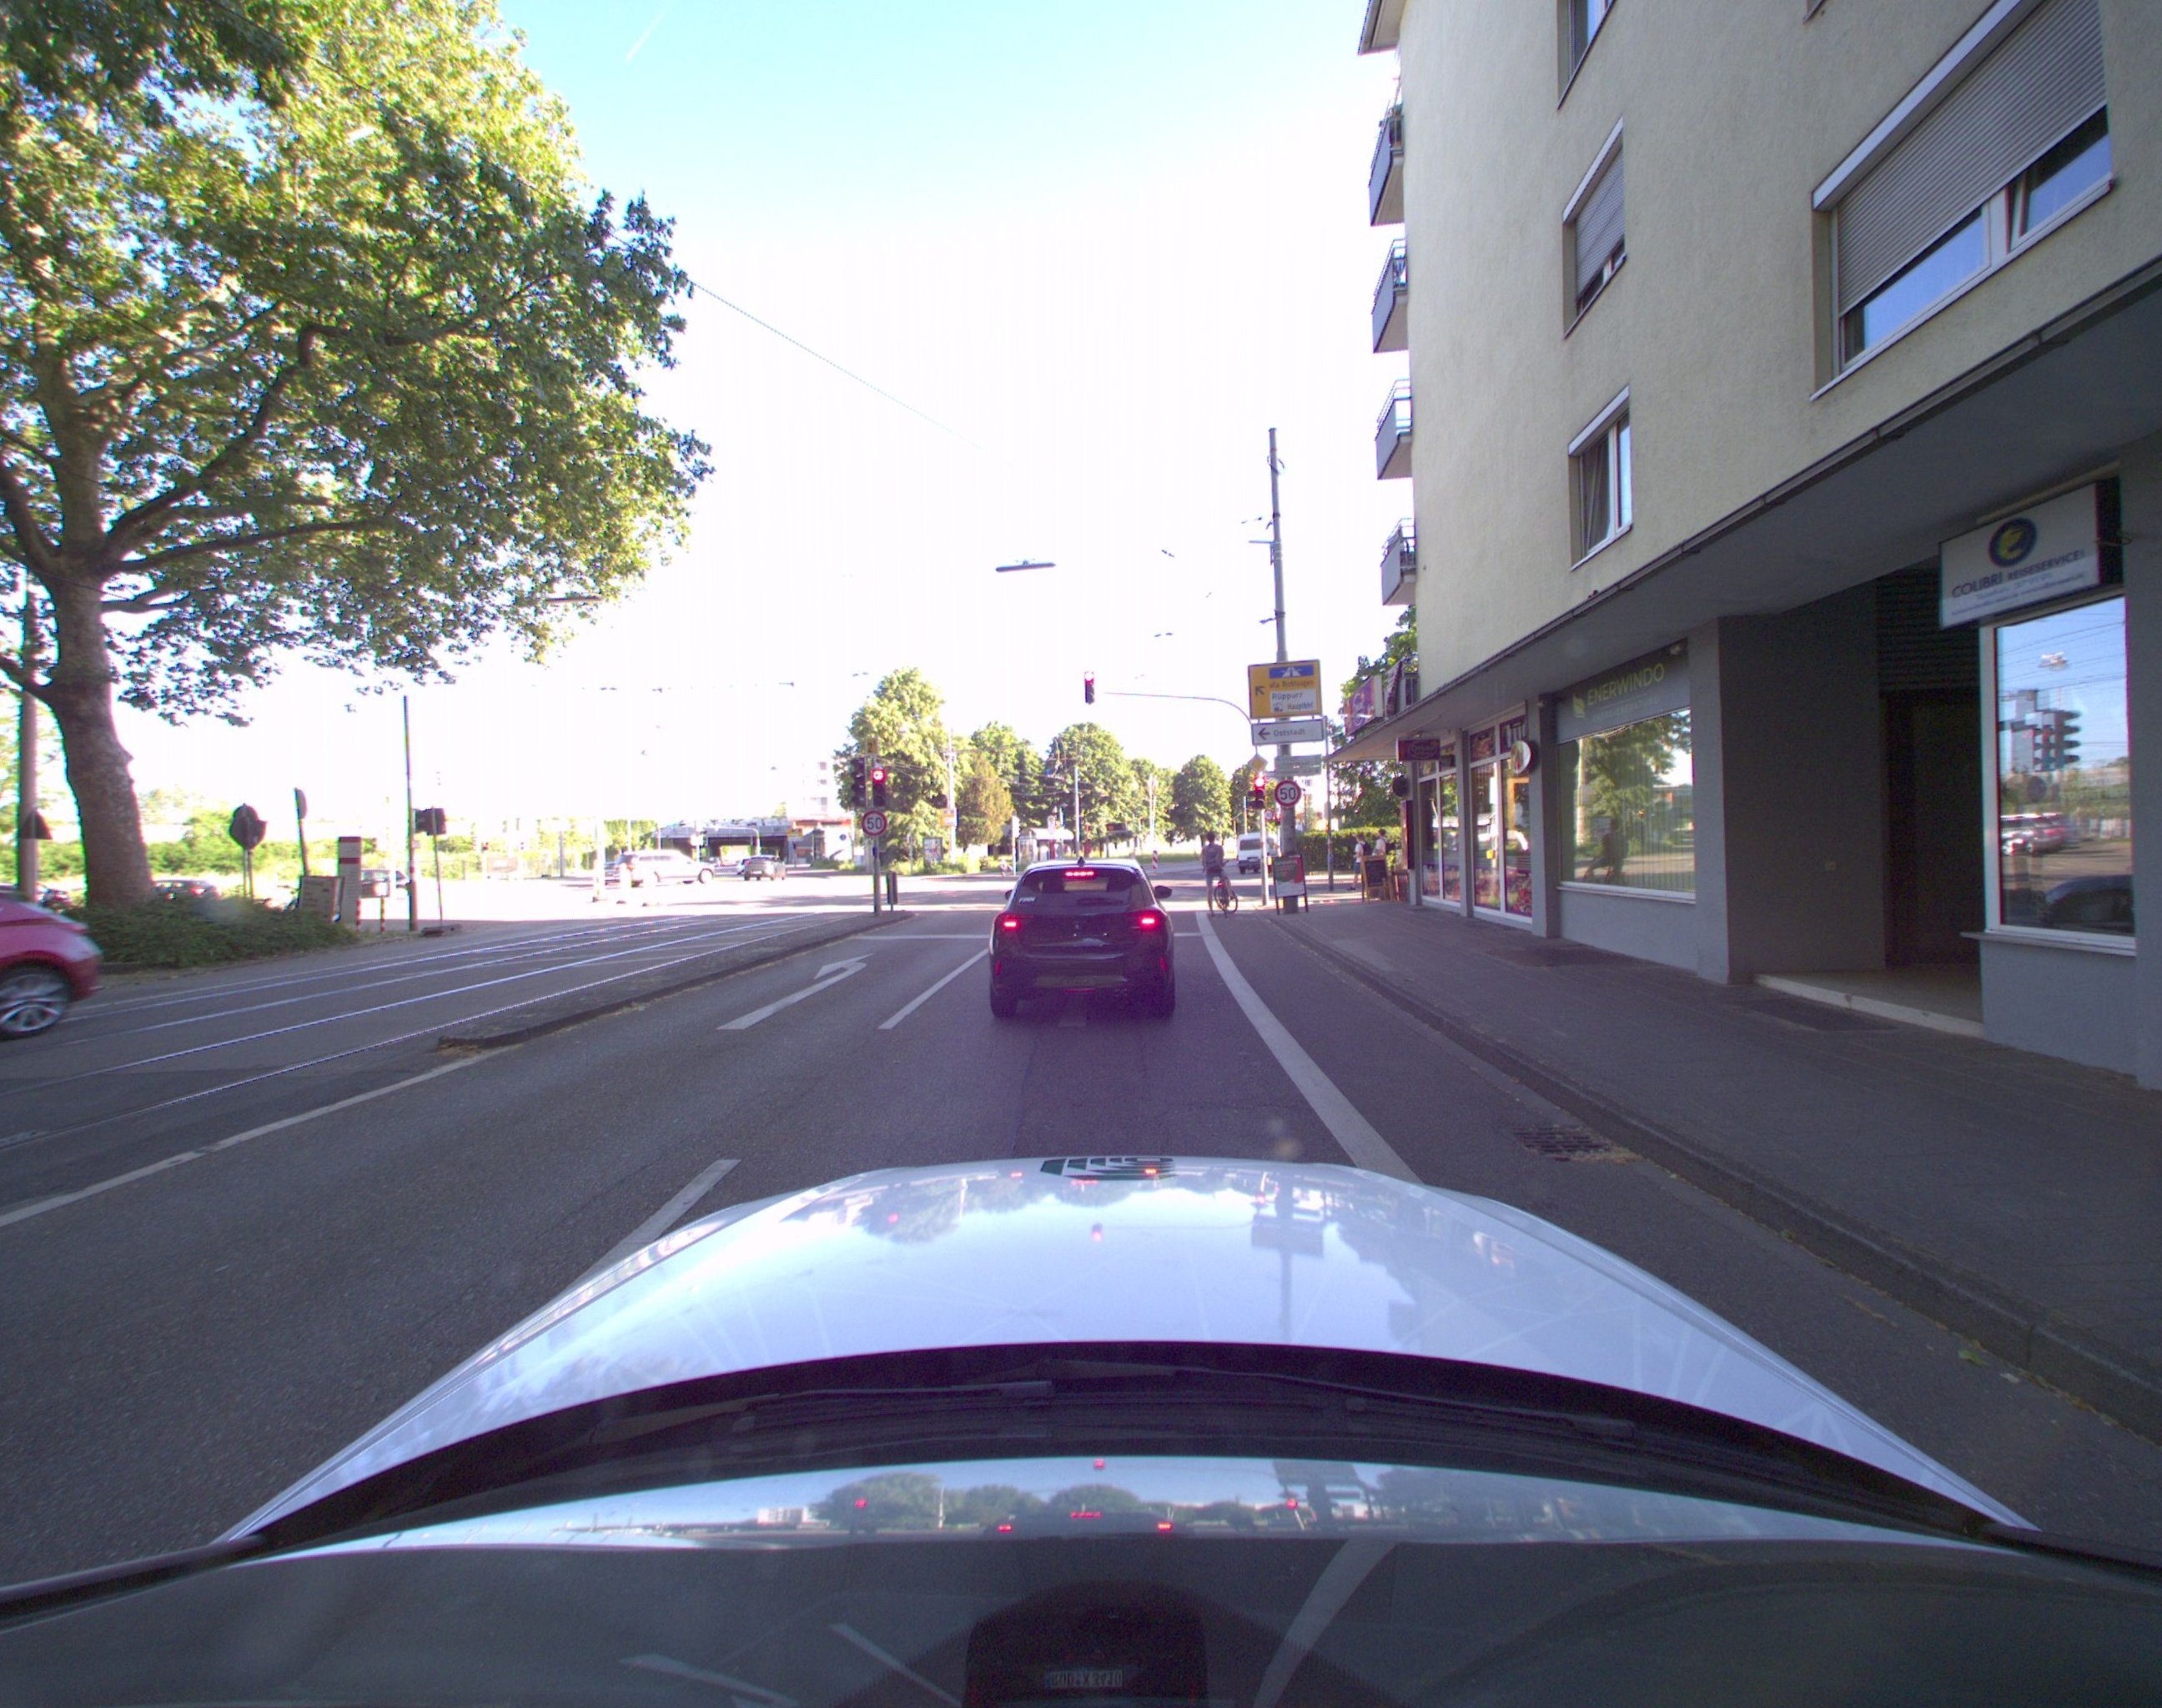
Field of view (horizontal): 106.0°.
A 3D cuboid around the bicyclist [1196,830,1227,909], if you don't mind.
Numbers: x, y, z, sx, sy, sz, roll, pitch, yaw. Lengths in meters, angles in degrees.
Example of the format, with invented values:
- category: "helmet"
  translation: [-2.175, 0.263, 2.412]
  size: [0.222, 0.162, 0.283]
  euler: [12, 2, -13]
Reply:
- category: "bicyclist"
  translation: [2.845, 0.331, 17.781]
  size: [0.529, 1.692, 0.571]
  euler: [-2, 0, 19]

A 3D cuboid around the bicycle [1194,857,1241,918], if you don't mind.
- category: "bicycle"
  translation: [3.041, 0.714, 18.014]
  size: [0.747, 1.235, 2.024]
  euler: [-2, 0, 16]

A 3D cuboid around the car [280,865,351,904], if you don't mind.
- category: "car"
  translation: [-36.116, 1.395, 38.507]
  size: [1.609, 1.701, 3.607]
  euler: [-2, 0, -30]

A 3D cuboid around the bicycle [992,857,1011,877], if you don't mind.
- category: "bicycle"
  translation: [-4.537, 0.743, 46.819]
  size: [0.793, 1.064, 2.186]
  euler: [-2, 0, 2]

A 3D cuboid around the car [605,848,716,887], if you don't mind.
- category: "car"
  translation: [-22.160, 0.684, 43.143]
  size: [1.890, 1.881, 4.877]
  euler: [-2, 0, 34]

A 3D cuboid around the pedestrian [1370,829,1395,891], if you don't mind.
- category: "pedestrian"
  translation: [9.015, 0.180, 24.341]
  size: [0.627, 1.820, 0.749]
  euler: [-1, -1, 22]

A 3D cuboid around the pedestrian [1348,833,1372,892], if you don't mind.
- category: "pedestrian"
  translation: [8.408, 0.258, 24.547]
  size: [0.627, 1.763, 0.585]
  euler: [-1, -1, 20]

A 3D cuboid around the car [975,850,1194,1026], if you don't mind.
- category: "car"
  translation: [0.091, 0.702, 8.927]
  size: [1.833, 1.462, 3.985]
  euler: [-1, 0, 2]

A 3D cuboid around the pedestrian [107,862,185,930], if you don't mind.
- category: "pedestrian"
  translation: [-23.261, 1.017, 20.279]
  size: [0.842, 1.647, 0.931]
  euler: [0, -1, 1]

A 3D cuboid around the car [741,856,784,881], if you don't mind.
- category: "car"
  translation: [-20.667, 0.911, 53.013]
  size: [1.798, 1.519, 4.190]
  euler: [0, -1, -11]

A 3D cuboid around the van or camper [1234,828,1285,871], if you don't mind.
- category: "van or camper"
  translation: [10.189, -0.222, 46.204]
  size: [2.011, 2.310, 4.565]
  euler: [-1, -1, 23]

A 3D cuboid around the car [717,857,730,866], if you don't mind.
- category: "car"
  translation: [-52.184, 1.112, 118.870]
  size: [1.587, 1.260, 3.397]
  euler: [-2, 0, -28]

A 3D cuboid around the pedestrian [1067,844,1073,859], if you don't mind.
- category: "pedestrian"
  translation: [-1.297, -0.292, 97.183]
  size: [0.736, 1.872, 0.661]
  euler: [0, -1, -4]

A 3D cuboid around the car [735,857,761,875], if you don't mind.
- category: "car"
  translation: [-29.529, 1.057, 72.145]
  size: [2.000, 1.552, 4.162]
  euler: [0, -1, -25]

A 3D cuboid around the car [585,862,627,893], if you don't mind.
- category: "car"
  translation: [-29.623, 1.445, 50.940]
  size: [1.993, 1.764, 4.321]
  euler: [-2, 0, -27]

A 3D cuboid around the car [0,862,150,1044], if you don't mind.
- category: "car"
  translation: [-10.380, 0.897, 5.962]
  size: [2.011, 1.565, 4.488]
  euler: [-1, 0, -2]

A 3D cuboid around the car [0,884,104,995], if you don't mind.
- category: "car"
  translation: [-16.631, 1.196, 11.339]
  size: [3.957, 1.453, 1.670]
  euler: [-1, 0, -1]

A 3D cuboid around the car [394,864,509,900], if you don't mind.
- category: "car"
  translation: [-31.782, 1.390, 41.227]
  size: [1.688, 1.555, 4.289]
  euler: [-2, 0, 38]
